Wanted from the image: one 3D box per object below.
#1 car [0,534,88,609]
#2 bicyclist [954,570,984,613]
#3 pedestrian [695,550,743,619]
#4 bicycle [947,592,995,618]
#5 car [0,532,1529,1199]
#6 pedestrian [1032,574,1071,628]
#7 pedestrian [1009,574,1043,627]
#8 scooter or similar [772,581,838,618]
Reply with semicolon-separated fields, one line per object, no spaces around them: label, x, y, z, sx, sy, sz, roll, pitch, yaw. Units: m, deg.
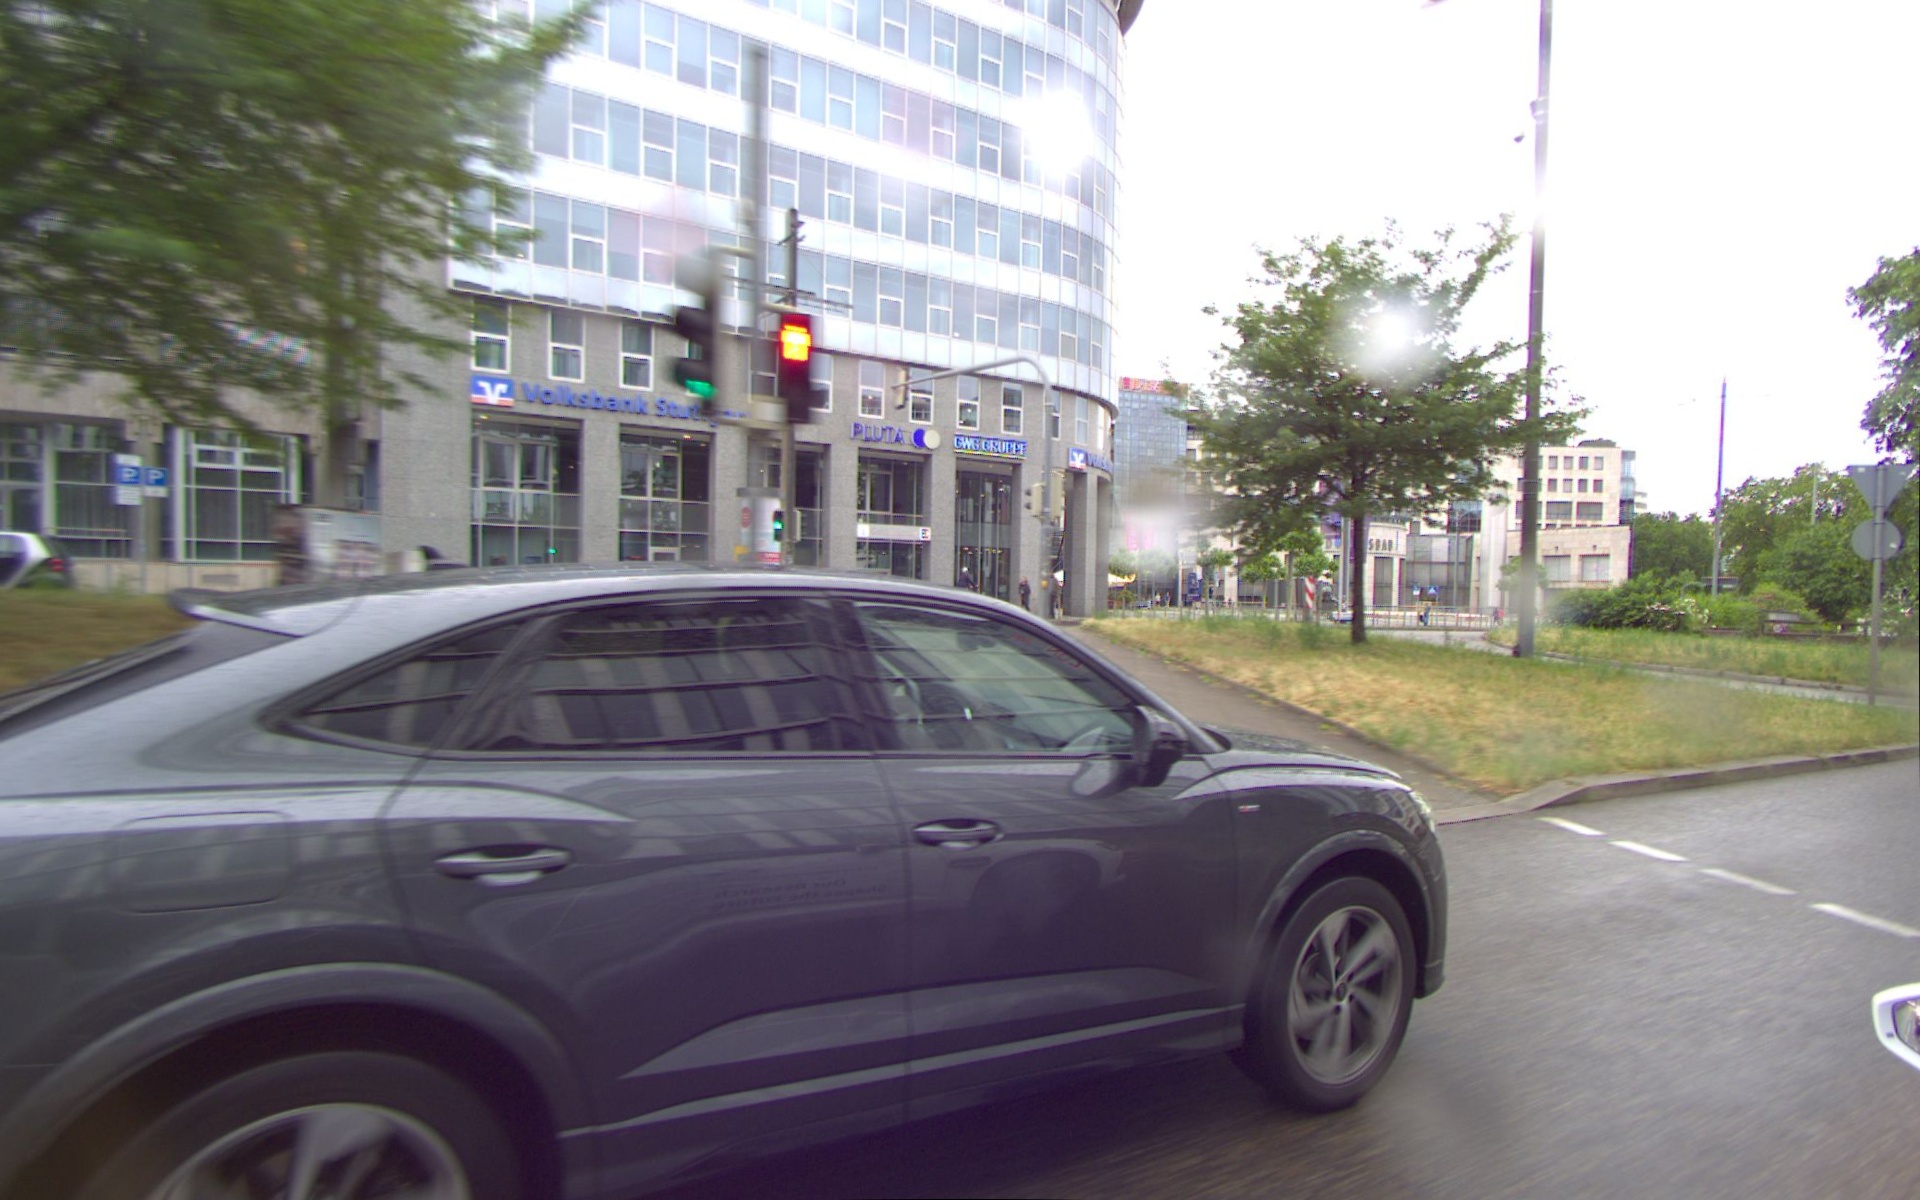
car;-19.081;-0.597;19.830;2.598;1.404;1.233;2;2;-32
bicyclist;0.374;-0.353;42.395;1.030;1.764;0.732;1;0;-33
pedestrian;-6.840;-0.434;28.509;0.926;1.906;0.947;2;0;-44
bicycle;0.479;0.213;42.477;1.913;1.020;0.740;2;0;-33
car;-0.445;0.698;3.021;4.295;1.538;1.851;2;0;-31
pedestrian;3.577;0.049;39.144;1.028;2.040;1.042;2;0;-44
pedestrian;2.641;0.023;39.996;1.028;2.040;0.841;2;0;-44
scooter or similar;-5.570;-0.008;36.170;2.224;1.229;0.767;2;1;-35
